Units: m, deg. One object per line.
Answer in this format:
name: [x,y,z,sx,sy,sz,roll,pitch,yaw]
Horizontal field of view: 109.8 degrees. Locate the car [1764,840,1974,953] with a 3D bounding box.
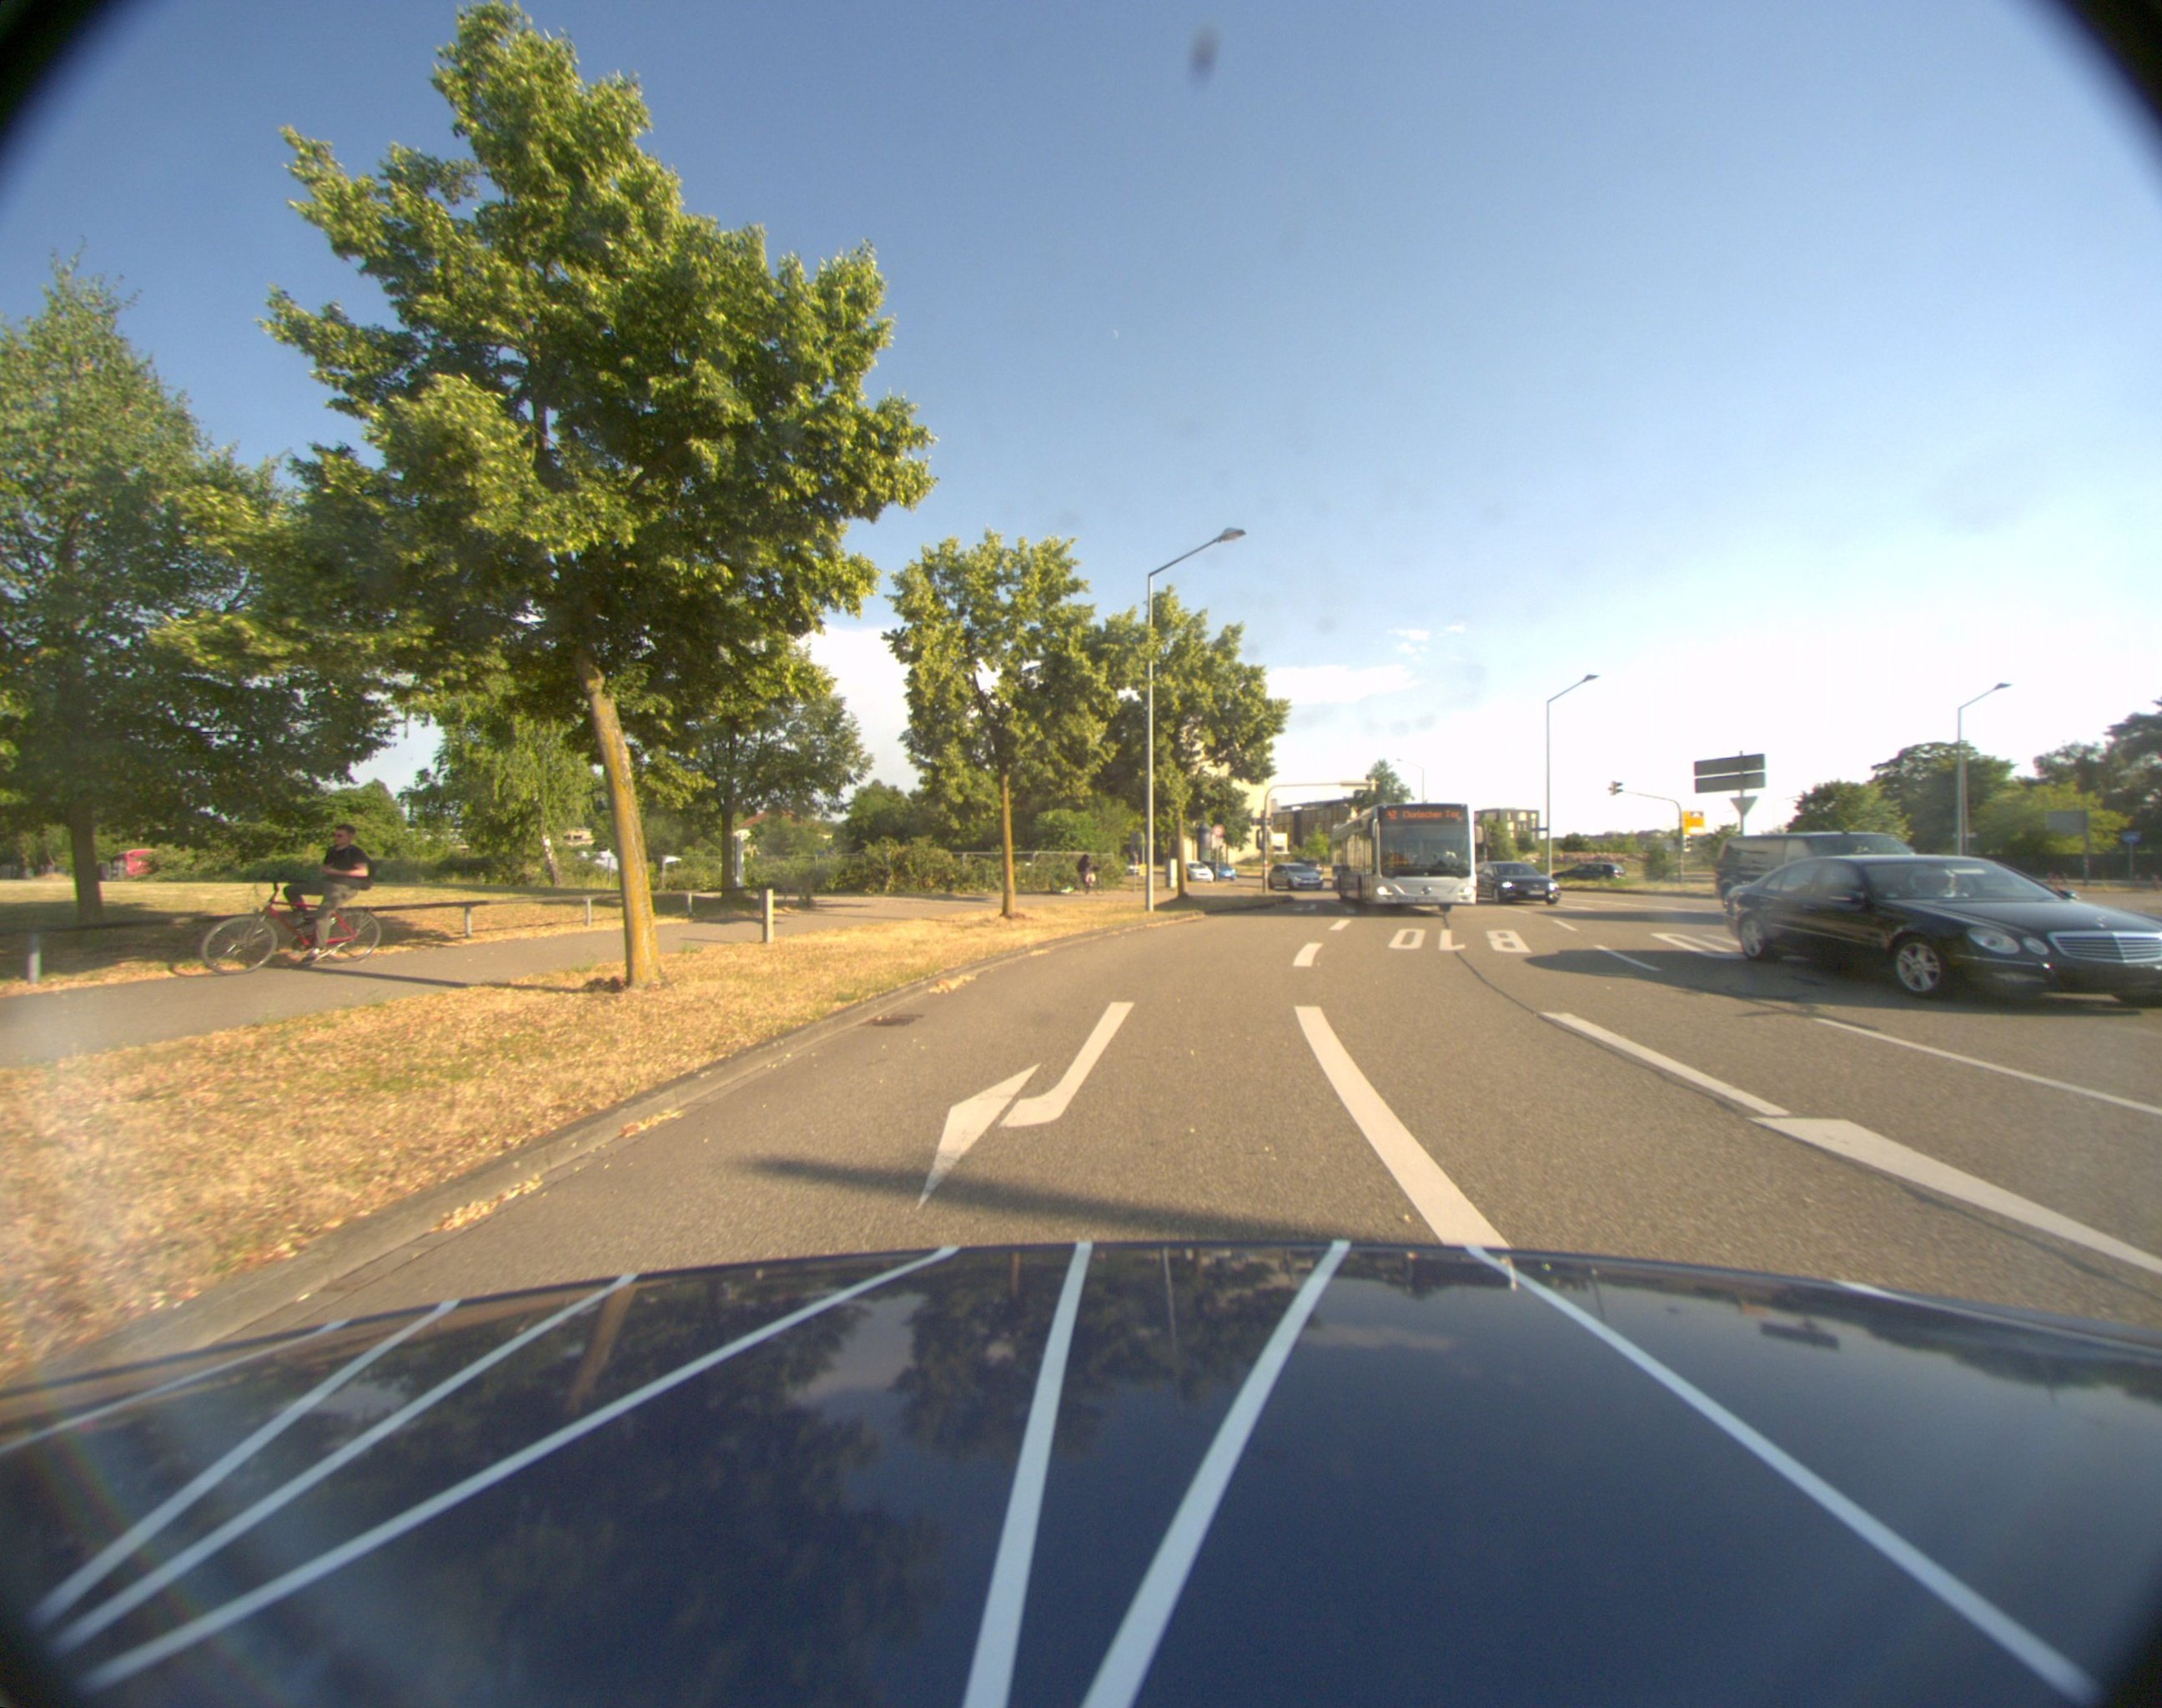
car: [15.926,0.705,15.698,1.857,1.921,5.022,-1,1,32]

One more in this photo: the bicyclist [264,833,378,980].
bicyclist: [-9.925,0.656,9.946,0.619,1.819,0.831,2,0,17]

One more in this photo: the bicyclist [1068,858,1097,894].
bicyclist: [0.060,0.818,29.166,0.982,1.355,0.557,0,1,-33]

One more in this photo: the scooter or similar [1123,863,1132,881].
scooter or similar: [3.002,1.147,49.059,0.249,1.119,1.094,3,-1,-13]

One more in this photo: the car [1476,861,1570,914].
car: [14.966,1.076,25.947,1.808,1.501,4.166,-2,1,16]

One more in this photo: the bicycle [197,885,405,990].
bicycle: [-9.955,1.013,9.809,0.415,1.151,1.893,1,0,17]

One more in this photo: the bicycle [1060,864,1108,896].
bicycle: [0.126,0.989,29.203,1.832,1.149,0.491,0,-3,-32]

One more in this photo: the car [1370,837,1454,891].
car: [16.901,0.421,39.163,1.980,2.503,5.910,-2,1,3]

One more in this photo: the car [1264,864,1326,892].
car: [11.761,1.280,41.950,1.587,1.415,3.622,0,0,-16]

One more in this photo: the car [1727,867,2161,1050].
car: [9.428,0.905,8.503,1.807,1.428,4.500,0,0,19]

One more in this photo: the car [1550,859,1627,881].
car: [32.416,1.009,48.623,1.484,1.341,3.820,0,0,-35]

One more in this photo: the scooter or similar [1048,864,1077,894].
scooter or similar: [-0.743,1.004,30.582,1.173,1.153,0.341,0,1,-40]

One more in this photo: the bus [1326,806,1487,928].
bus: [10.067,0.312,24.981,2.592,3.025,11.730,-1,0,12]

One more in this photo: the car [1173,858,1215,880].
car: [8.265,1.073,55.773,1.587,1.553,3.621,0,0,-20]
